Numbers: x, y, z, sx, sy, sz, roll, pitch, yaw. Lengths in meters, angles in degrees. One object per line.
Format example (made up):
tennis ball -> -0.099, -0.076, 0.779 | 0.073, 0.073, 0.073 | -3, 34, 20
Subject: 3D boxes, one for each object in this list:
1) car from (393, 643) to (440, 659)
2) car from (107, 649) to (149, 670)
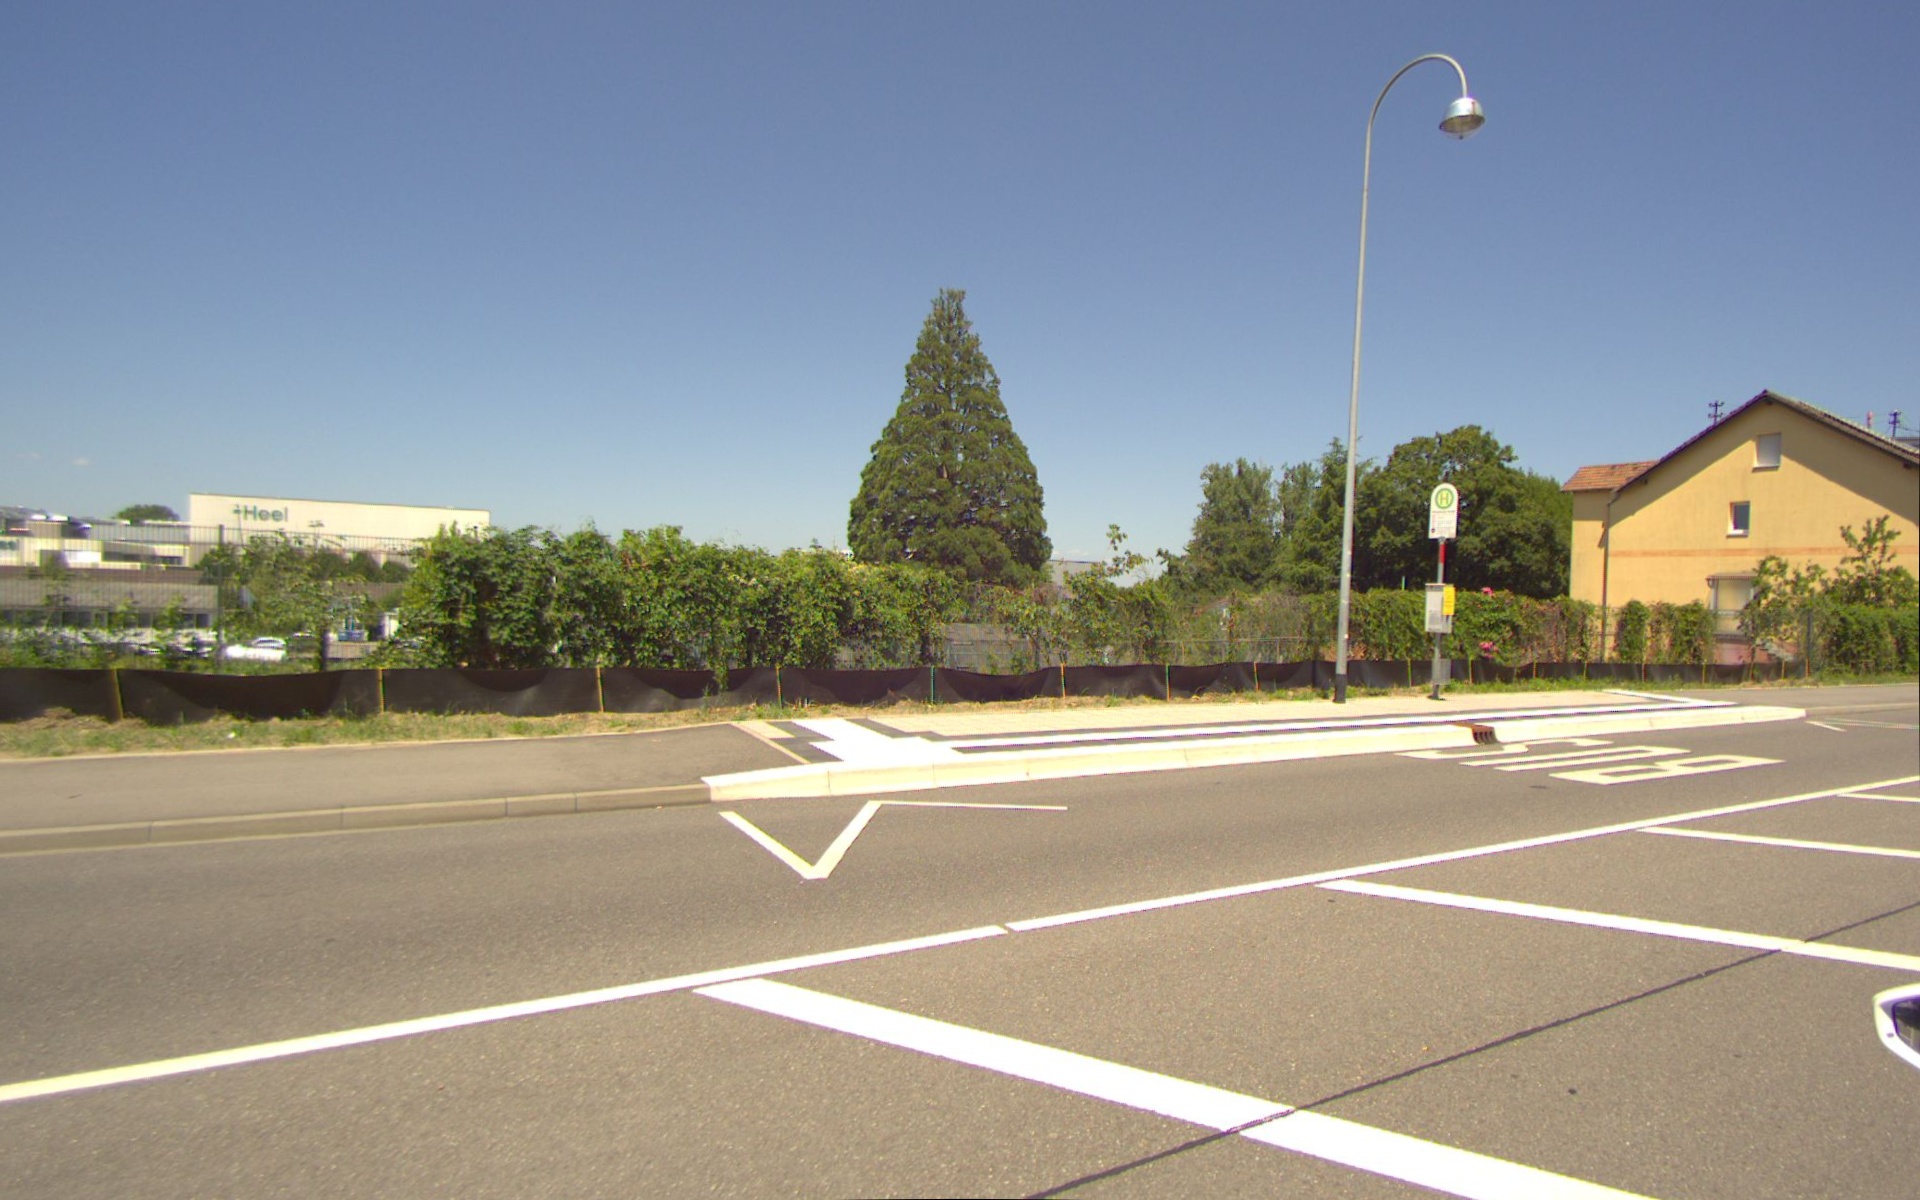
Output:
car -> -54.956, 5.175, 101.707 | 3.943, 1.528, 1.989 | 2, -1, -23
car -> -67.559, 4.801, 81.583 | 1.977, 1.528, 3.967 | 2, -1, -31
